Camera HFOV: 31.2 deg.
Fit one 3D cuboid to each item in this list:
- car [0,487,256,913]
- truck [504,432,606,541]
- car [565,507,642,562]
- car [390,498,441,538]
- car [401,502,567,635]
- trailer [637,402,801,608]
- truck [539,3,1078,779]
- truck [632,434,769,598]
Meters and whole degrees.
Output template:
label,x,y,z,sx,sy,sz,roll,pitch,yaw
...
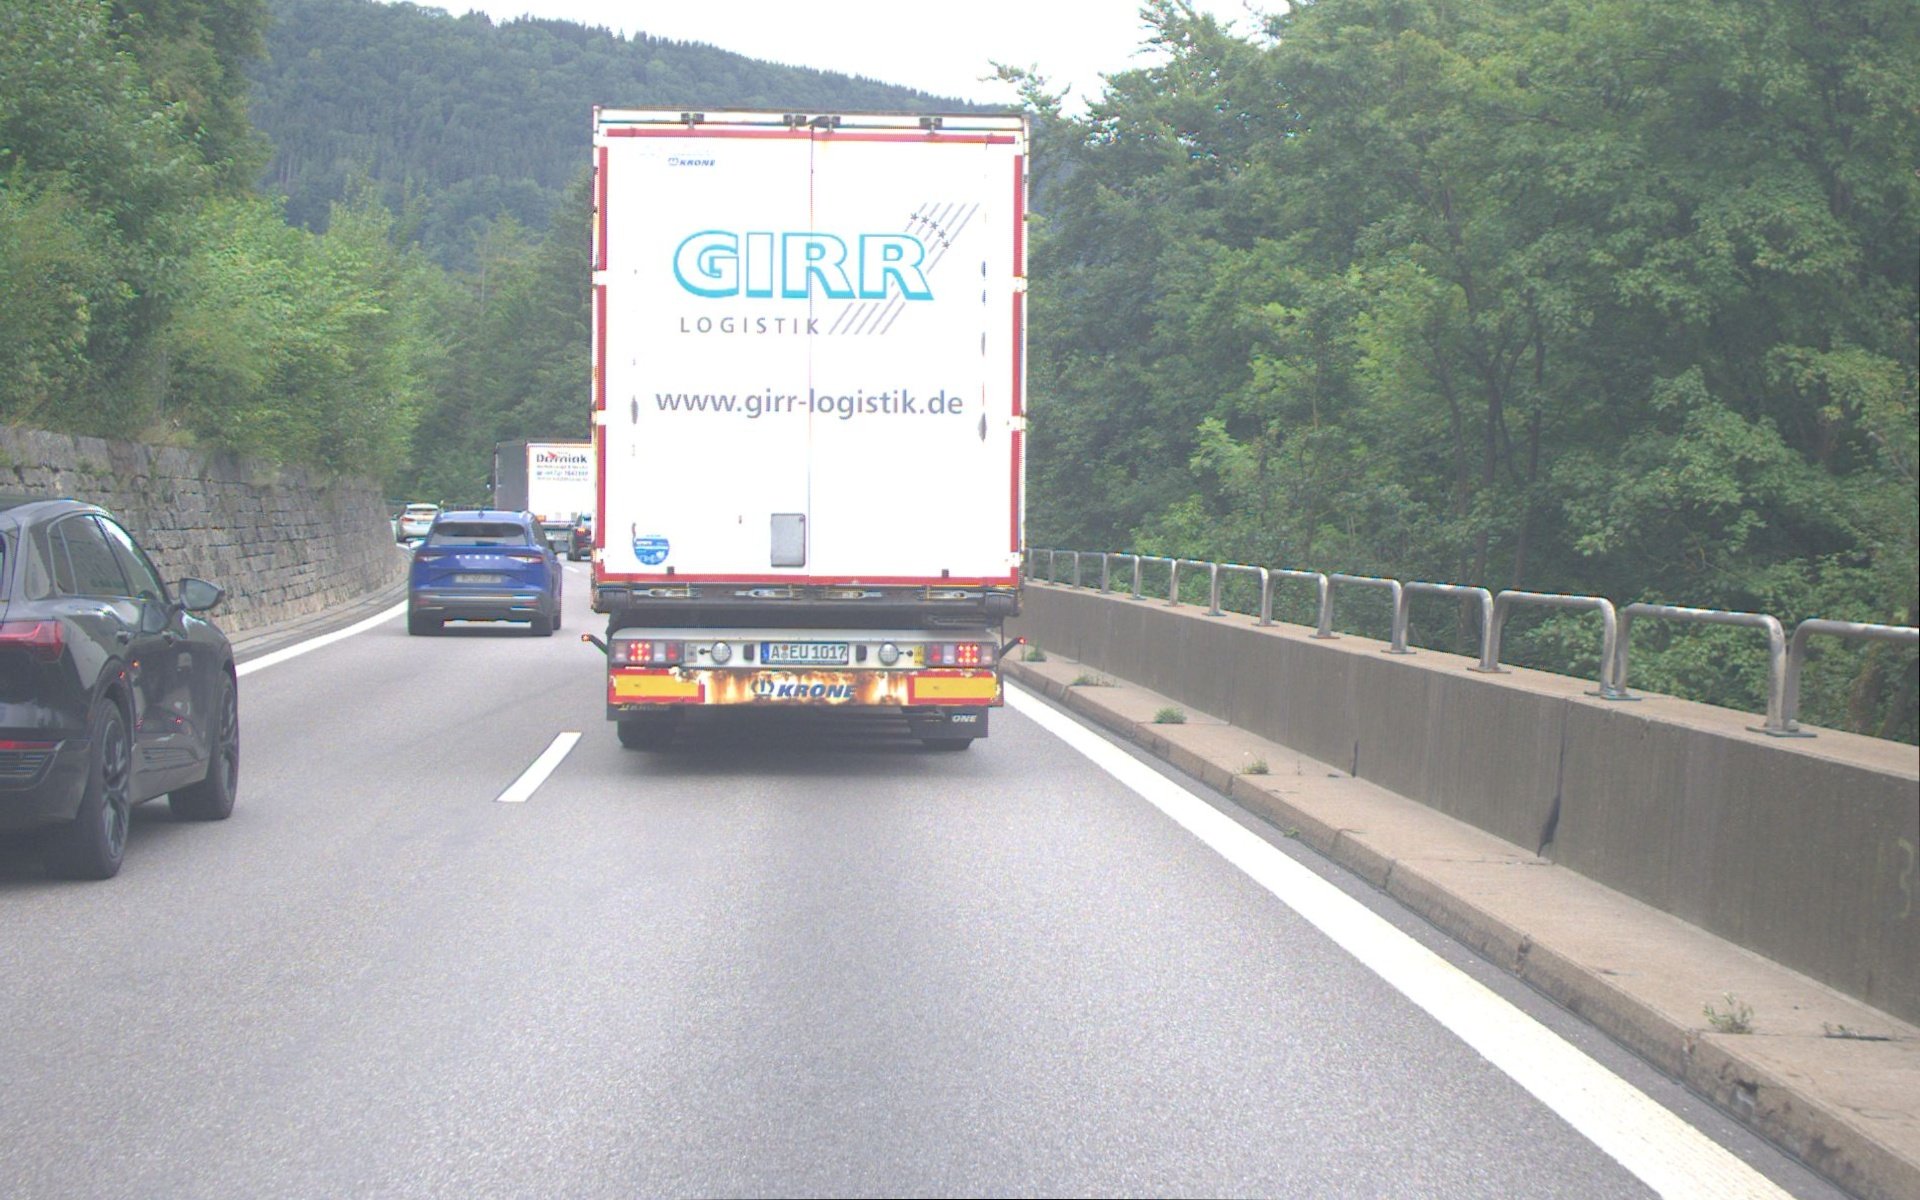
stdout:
label,x,y,z,sx,sy,sz,roll,pitch,yaw
car,-4.545,0.332,15.601,1.993,1.626,5.009,0,1,-4
truck,-15.142,-4.168,127.764,2.633,3.844,12.363,0,1,-12
car,-10.975,-2.026,105.662,2.060,1.648,4.001,0,1,-10
car,-22.256,-3.362,140.388,1.896,1.545,4.251,1,1,-11
car,-6.194,-0.432,45.203,1.993,1.626,5.009,-1,1,-6
trailer,-4.138,-1.538,57.163,2.211,3.037,11.142,1,1,-6
truck,-1.330,-1.366,27.402,3.084,4.448,15.158,0,1,-3
truck,-4.809,-1.526,63.106,2.208,2.841,5.005,1,1,-7
